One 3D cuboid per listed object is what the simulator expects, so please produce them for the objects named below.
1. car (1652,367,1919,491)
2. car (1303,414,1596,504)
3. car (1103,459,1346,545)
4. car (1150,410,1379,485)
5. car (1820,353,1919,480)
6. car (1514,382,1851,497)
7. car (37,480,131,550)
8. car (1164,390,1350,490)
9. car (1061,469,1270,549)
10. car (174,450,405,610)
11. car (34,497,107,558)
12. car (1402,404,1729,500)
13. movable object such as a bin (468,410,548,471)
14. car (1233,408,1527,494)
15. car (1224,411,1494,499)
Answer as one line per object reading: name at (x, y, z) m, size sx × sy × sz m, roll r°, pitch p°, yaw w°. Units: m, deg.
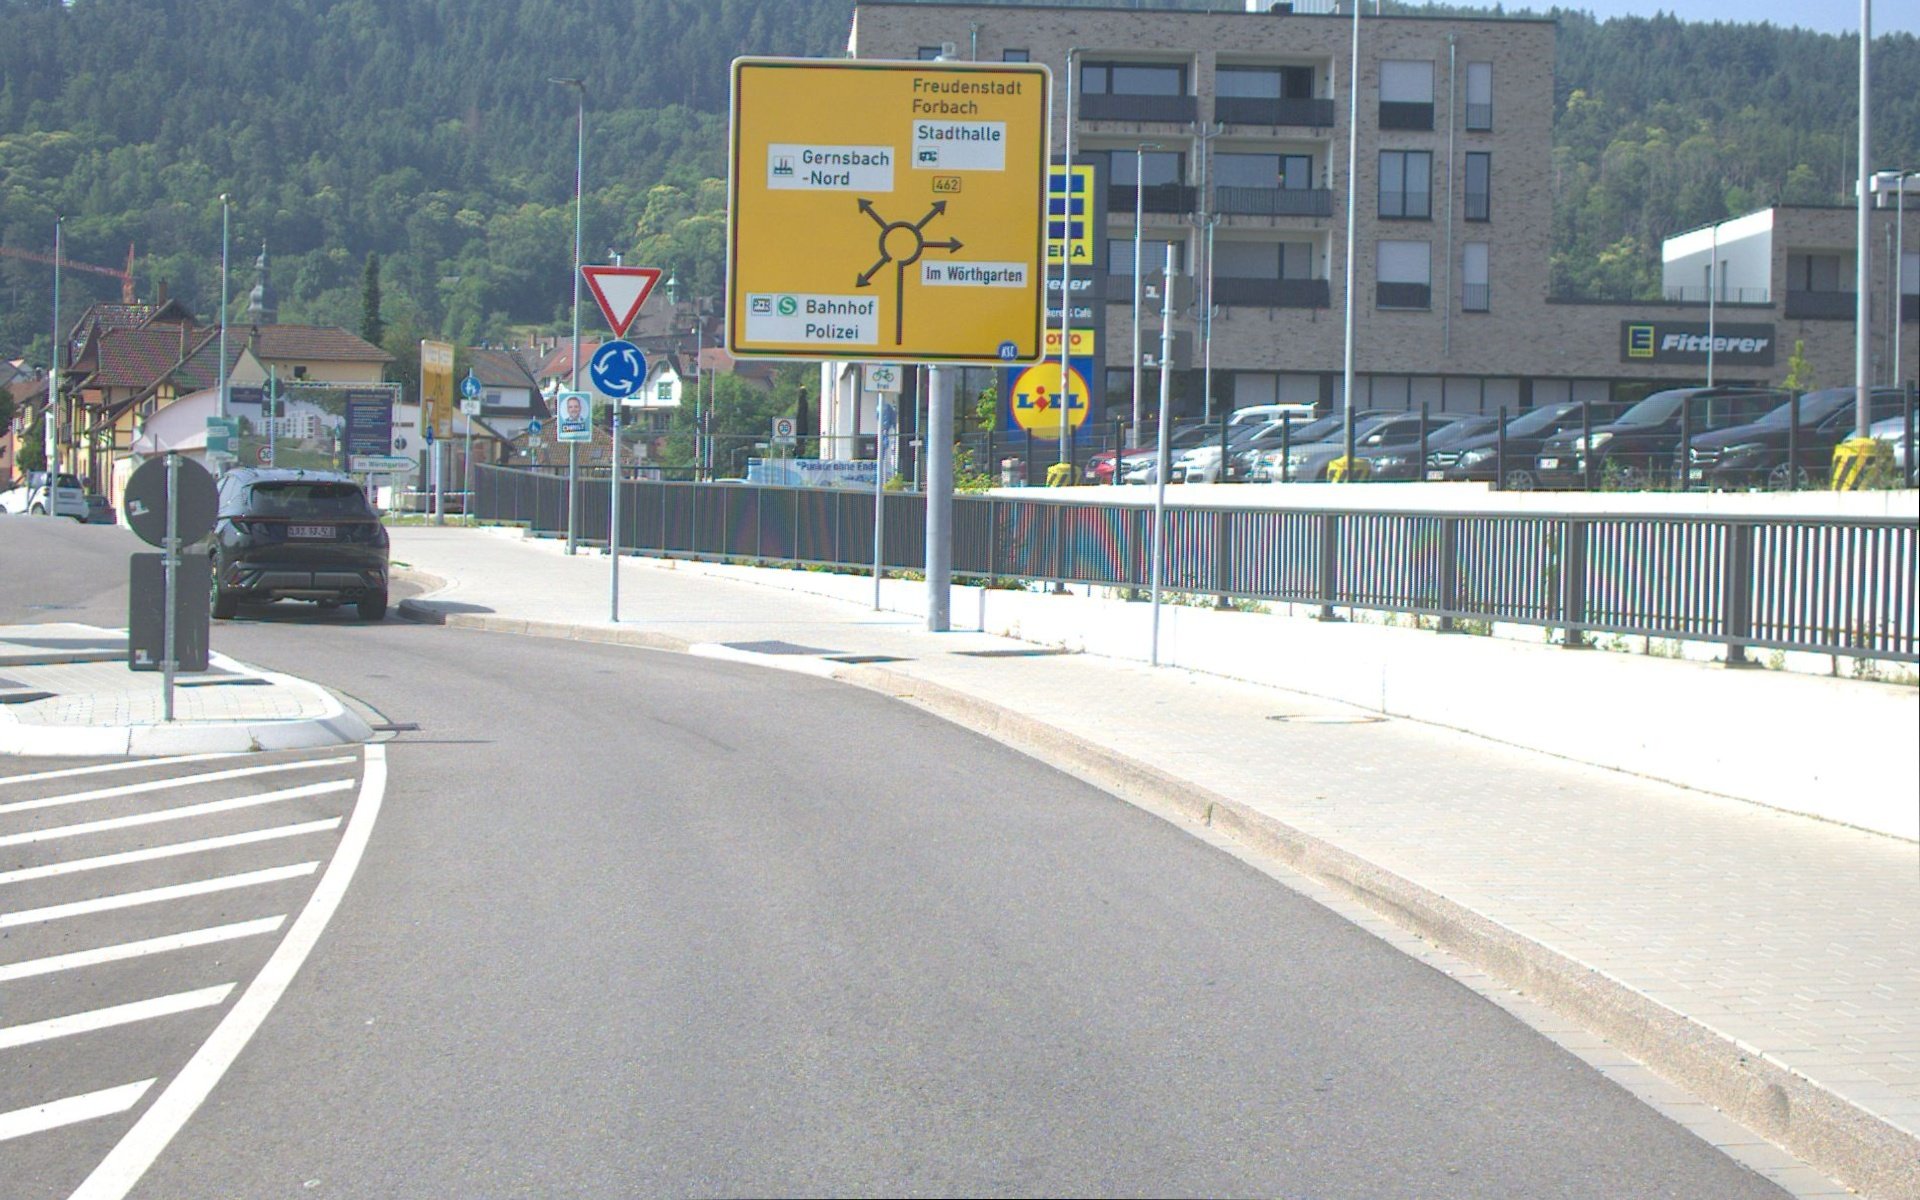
car at (10.625, -2.051, 41.873) m, size 4.060 × 1.399 × 1.486 m, roll 1°, pitch 2°, yaw -17°
car at (7.334, -2.111, 51.600) m, size 3.965 × 1.241 × 1.730 m, roll 1°, pitch 2°, yaw -17°
car at (4.802, -1.785, 62.591) m, size 4.055 × 1.482 × 1.717 m, roll 1°, pitch 2°, yaw -14°
car at (5.287, -2.643, 59.802) m, size 3.554 × 1.195 × 1.715 m, roll 1°, pitch 2°, yaw -17°
car at (11.839, -2.015, 38.757) m, size 3.804 × 1.359 × 1.681 m, roll 1°, pitch 2°, yaw -17°
car at (9.559, -2.115, 45.566) m, size 4.004 × 1.399 × 1.726 m, roll 1°, pitch 2°, yaw -17°
car at (-25.440, -2.462, 99.954) m, size 1.993 × 2.007 × 4.001 m, roll 0°, pitch 1°, yaw -5°
car at (6.504, -3.495, 75.509) m, size 3.987 × 2.128 × 2.000 m, roll 0°, pitch 1°, yaw 4°
car at (3.889, -1.726, 65.155) m, size 3.554 × 1.425 × 1.711 m, roll 1°, pitch 2°, yaw -17°
car at (-7.513, -0.772, 38.258) m, size 1.880 × 1.678 × 4.001 m, roll 0°, pitch 1°, yaw -21°
car at (-30.003, -2.444, 115.913) m, size 1.993 × 2.007 × 4.001 m, roll 0°, pitch 1°, yaw -20°
car at (8.580, -2.082, 48.764) m, size 4.212 × 1.241 × 1.745 m, roll 1°, pitch 2°, yaw -17°
movable object such as a bin at (-14.115, -4.964, 107.361) m, size 2.442 × 1.837 × 1.429 m, roll 0°, pitch 1°, yaw -8°
car at (6.620, -2.341, 54.245) m, size 4.277 × 1.241 × 1.665 m, roll 1°, pitch 2°, yaw -17°
car at (6.525, -2.369, 56.346) m, size 4.035 × 1.338 × 1.661 m, roll 1°, pitch 2°, yaw -17°
